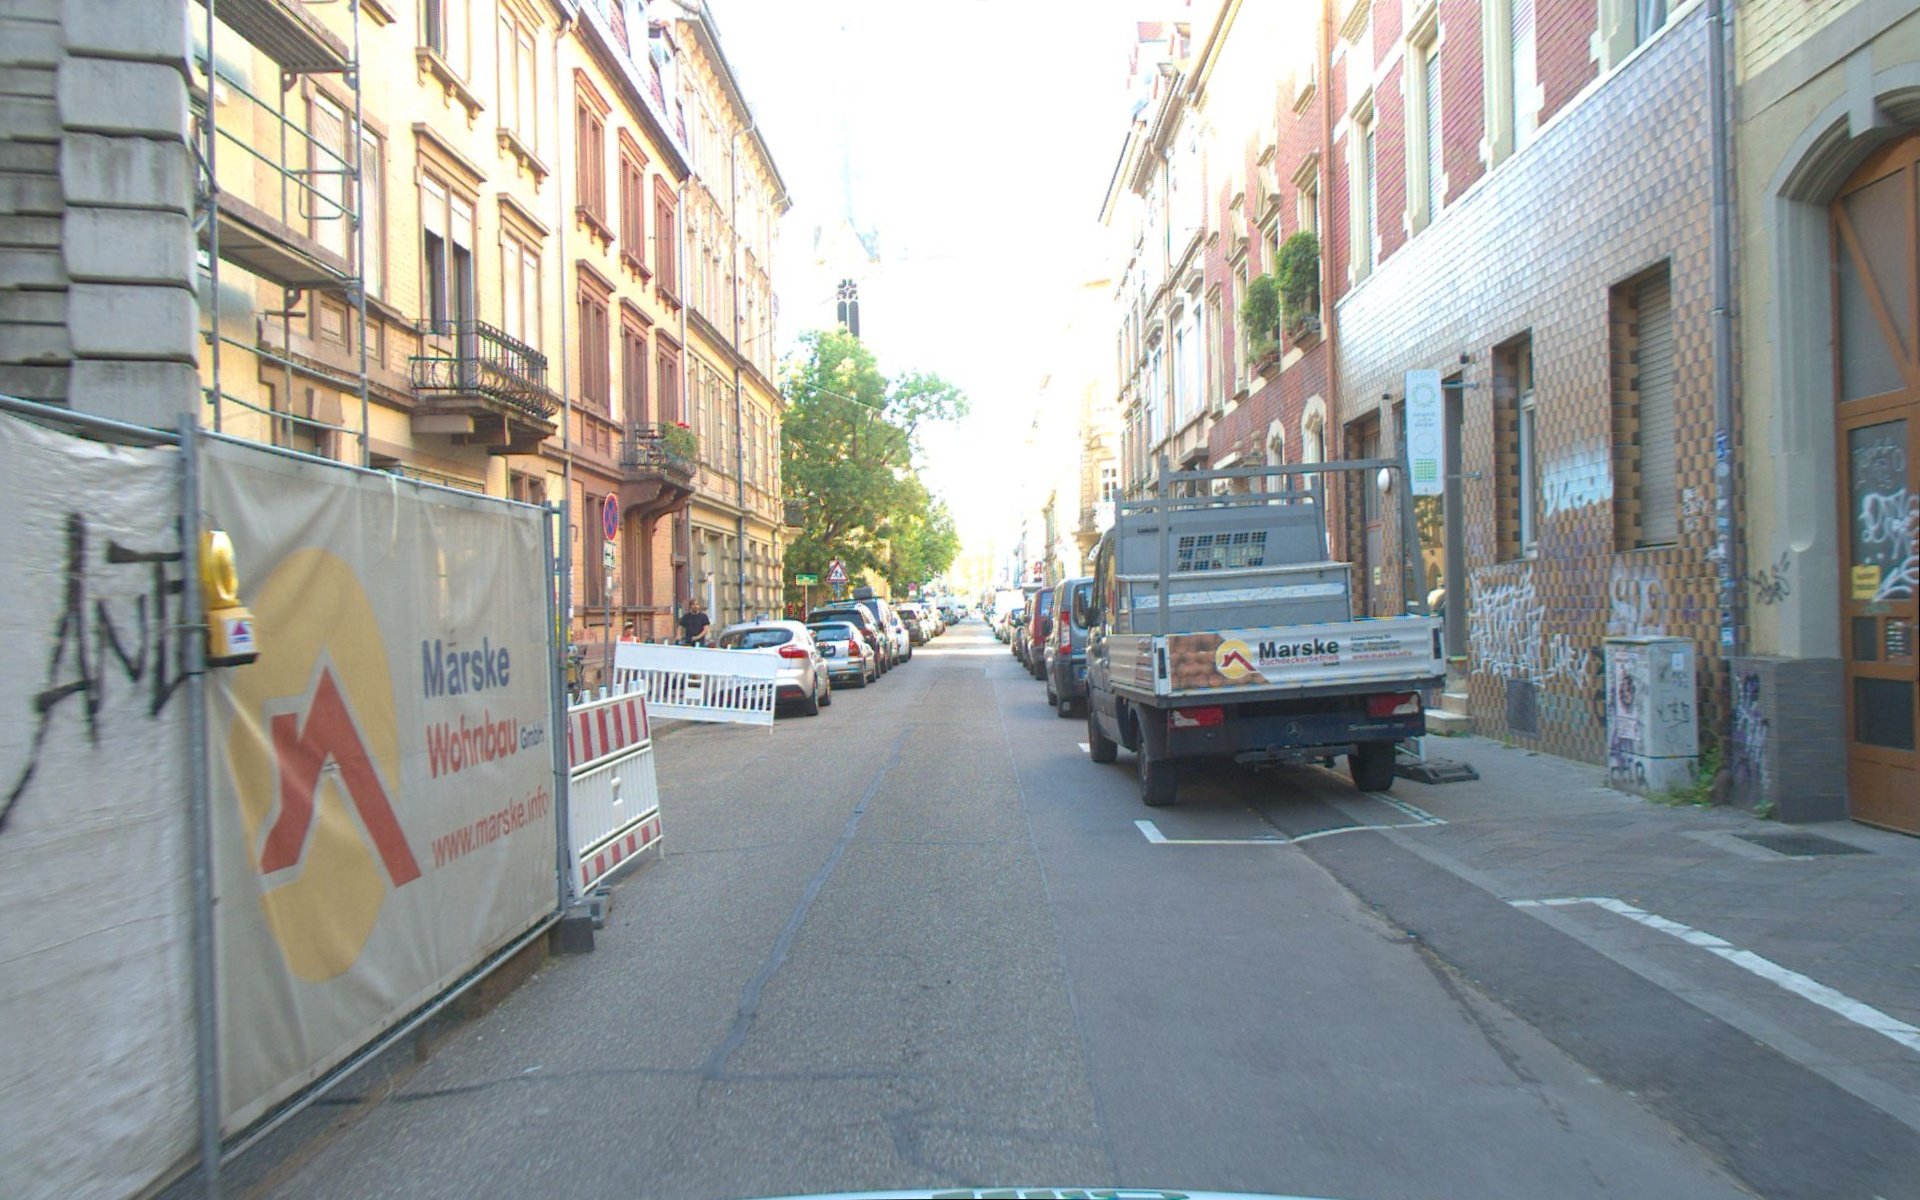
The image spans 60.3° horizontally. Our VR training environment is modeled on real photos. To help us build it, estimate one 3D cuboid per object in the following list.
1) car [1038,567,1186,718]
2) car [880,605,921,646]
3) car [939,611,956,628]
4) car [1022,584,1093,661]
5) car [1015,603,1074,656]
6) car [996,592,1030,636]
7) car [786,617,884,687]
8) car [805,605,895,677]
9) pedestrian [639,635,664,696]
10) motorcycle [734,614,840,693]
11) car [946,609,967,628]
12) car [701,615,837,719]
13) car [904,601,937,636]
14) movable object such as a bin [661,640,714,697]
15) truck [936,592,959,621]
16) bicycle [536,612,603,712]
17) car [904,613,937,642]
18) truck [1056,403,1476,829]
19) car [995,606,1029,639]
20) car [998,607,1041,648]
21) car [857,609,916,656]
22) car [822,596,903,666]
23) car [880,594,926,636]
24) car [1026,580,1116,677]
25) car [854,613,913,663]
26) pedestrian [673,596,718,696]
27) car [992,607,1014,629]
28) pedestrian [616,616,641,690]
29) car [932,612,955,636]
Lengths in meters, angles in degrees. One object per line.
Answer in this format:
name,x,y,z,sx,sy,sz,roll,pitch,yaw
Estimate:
car,2.170,0.593,24.734,1.807,2.018,4.576,1,0,0
car,-2.595,1.111,73.112,1.705,1.675,4.287,-1,0,-1
car,-1.422,2.178,182.805,1.837,1.828,3.999,-1,-1,-1
car,2.606,0.597,44.797,1.733,1.995,4.264,0,0,1
car,2.535,0.876,50.264,1.632,1.505,3.888,-1,0,1
car,3.322,0.865,104.301,2.025,2.656,5.888,-1,0,1
car,-2.584,1.062,34.990,1.663,1.337,4.000,2,-1,1
car,-2.613,0.964,40.163,1.751,1.653,4.608,0,-1,2
pedestrian,-5.596,1.183,29.992,0.386,1.105,0.431,0,-1,-5
motorcycle,-3.280,1.026,31.204,0.837,1.383,2.163,-3,-1,-41
car,-0.331,1.786,160.601,1.837,1.828,4.000,-1,-1,1
car,-2.945,1.003,26.226,1.640,1.443,4.000,-3,-1,0
car,-2.377,1.127,100.331,1.826,1.991,4.610,-3,-1,0
movable object such as a bin,-4.794,1.197,29.142,0.746,0.948,1.414,-1,-1,-3
truck,-1.516,0.776,199.085,2.480,3.339,6.995,-1,-1,1
bicycle,-5.946,0.931,25.238,0.513,1.450,1.712,2,-1,2
car,-2.251,1.549,94.843,1.706,1.614,3.869,-1,-1,1
truck,2.267,0.126,14.393,2.105,2.703,6.251,-5,0,-2
car,2.782,1.217,89.438,1.770,1.719,4.214,1,-1,1
car,2.652,1.220,74.834,1.669,1.744,3.937,-2,0,-1
car,-2.404,1.053,54.670,1.687,1.507,4.090,0,-1,1
car,-2.639,0.839,45.587,1.853,1.816,4.608,0,-1,1
car,-2.681,0.677,78.619,1.807,1.895,4.466,-1,0,2
car,2.449,0.625,37.520,1.794,2.049,4.742,0,0,1
car,-2.298,1.136,50.245,1.640,1.445,3.873,0,-1,-1
pedestrian,-4.843,0.832,30.301,0.671,1.796,0.887,-1,-1,-2
car,3.128,1.313,120.009,1.570,1.531,4.001,0,0,2
pedestrian,-6.010,0.947,30.002,0.386,1.329,0.431,0,-1,-5
car,-1.188,1.768,121.428,1.567,1.642,3.808,-4,-1,0
